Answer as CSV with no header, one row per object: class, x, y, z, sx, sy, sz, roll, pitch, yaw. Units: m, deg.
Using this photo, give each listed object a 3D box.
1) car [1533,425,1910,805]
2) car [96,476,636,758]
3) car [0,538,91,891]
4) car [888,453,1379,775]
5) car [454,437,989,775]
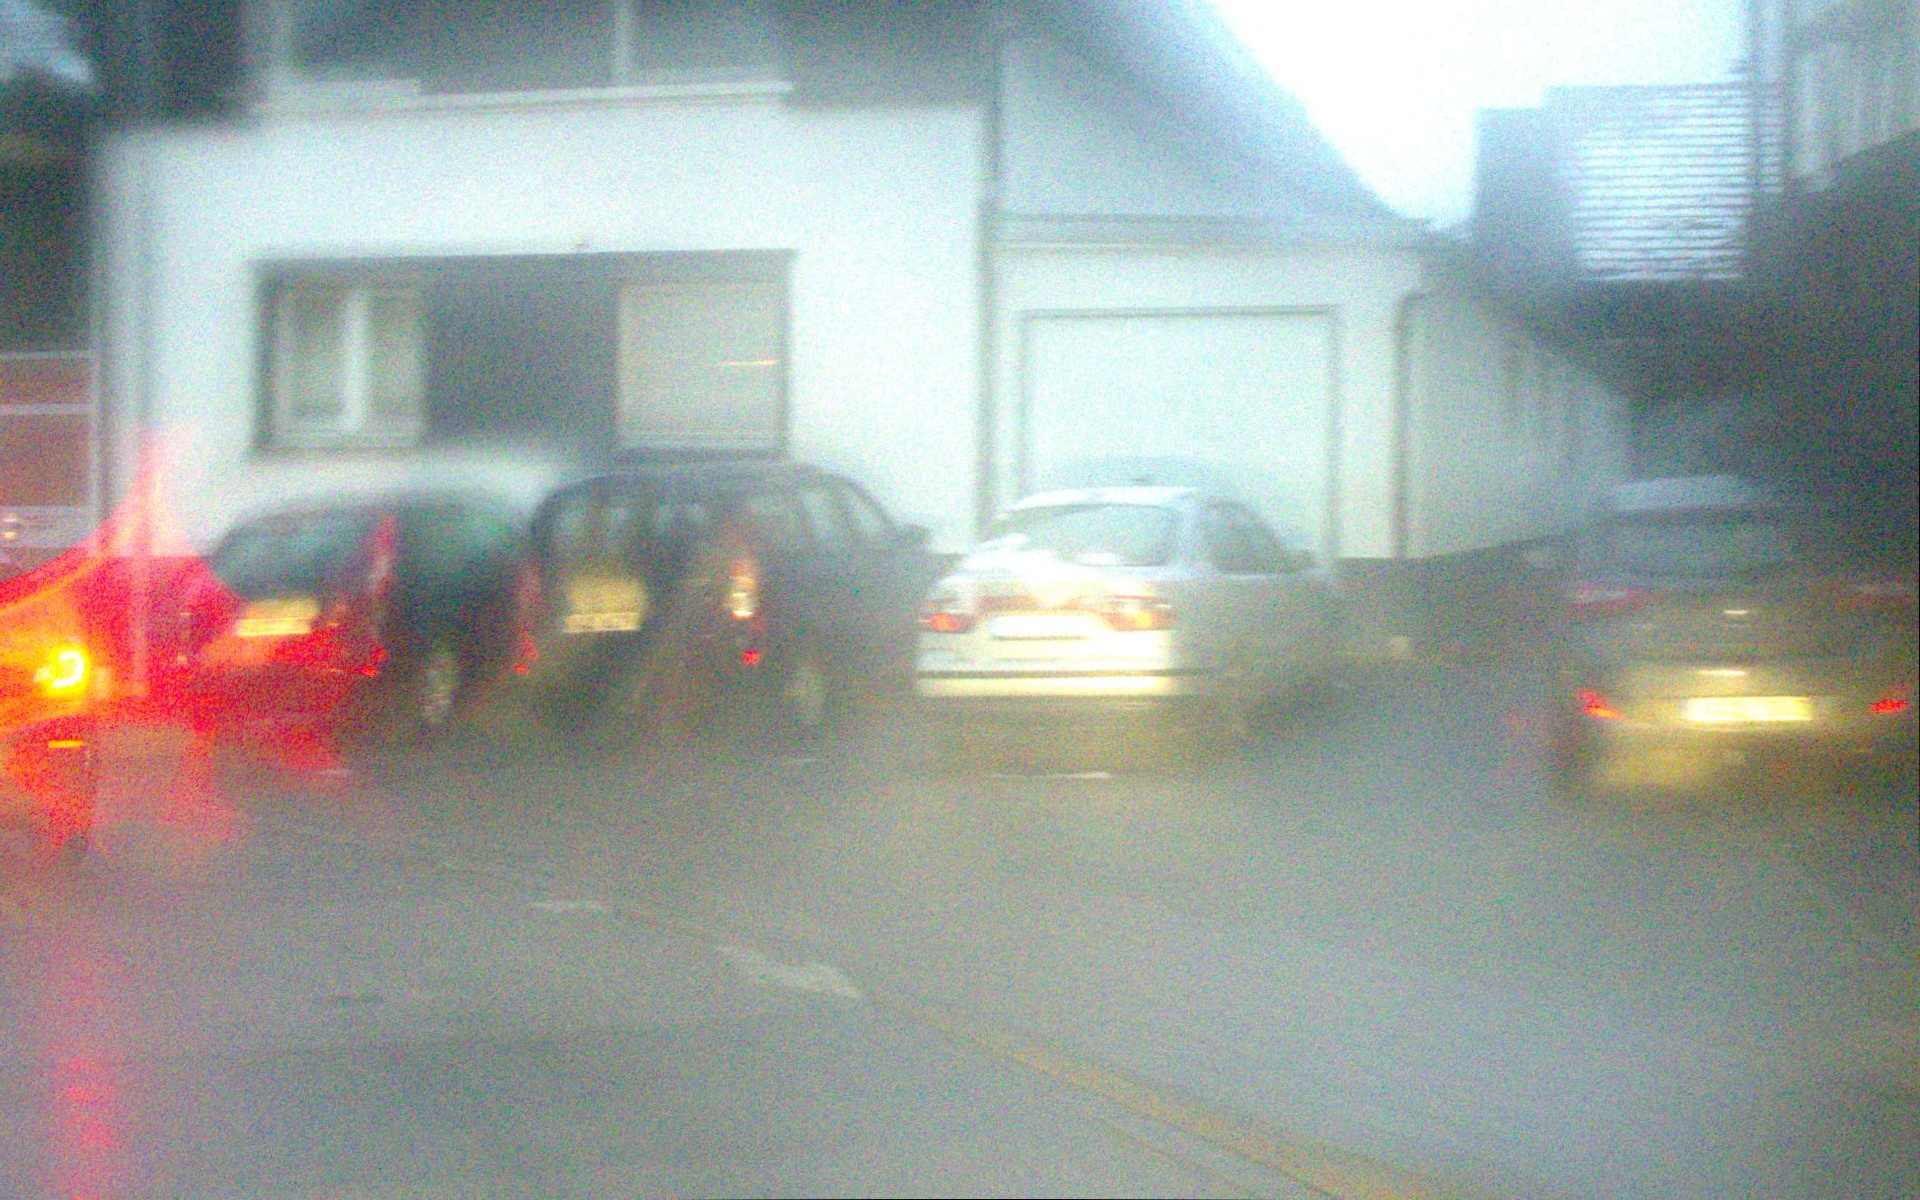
car,3.780,-0.020,17.442,1.593,1.510,3.984,-3,4,11
car,-3.810,0.049,22.792,1.884,1.444,3.892,-2,4,17
car,-5.213,0.444,15.703,1.546,1.461,3.699,0,1,-29
car,1.119,0.004,19.775,1.811,1.415,4.036,-2,4,17
car,-1.346,-0.053,21.590,1.851,1.654,4.474,-2,4,16
